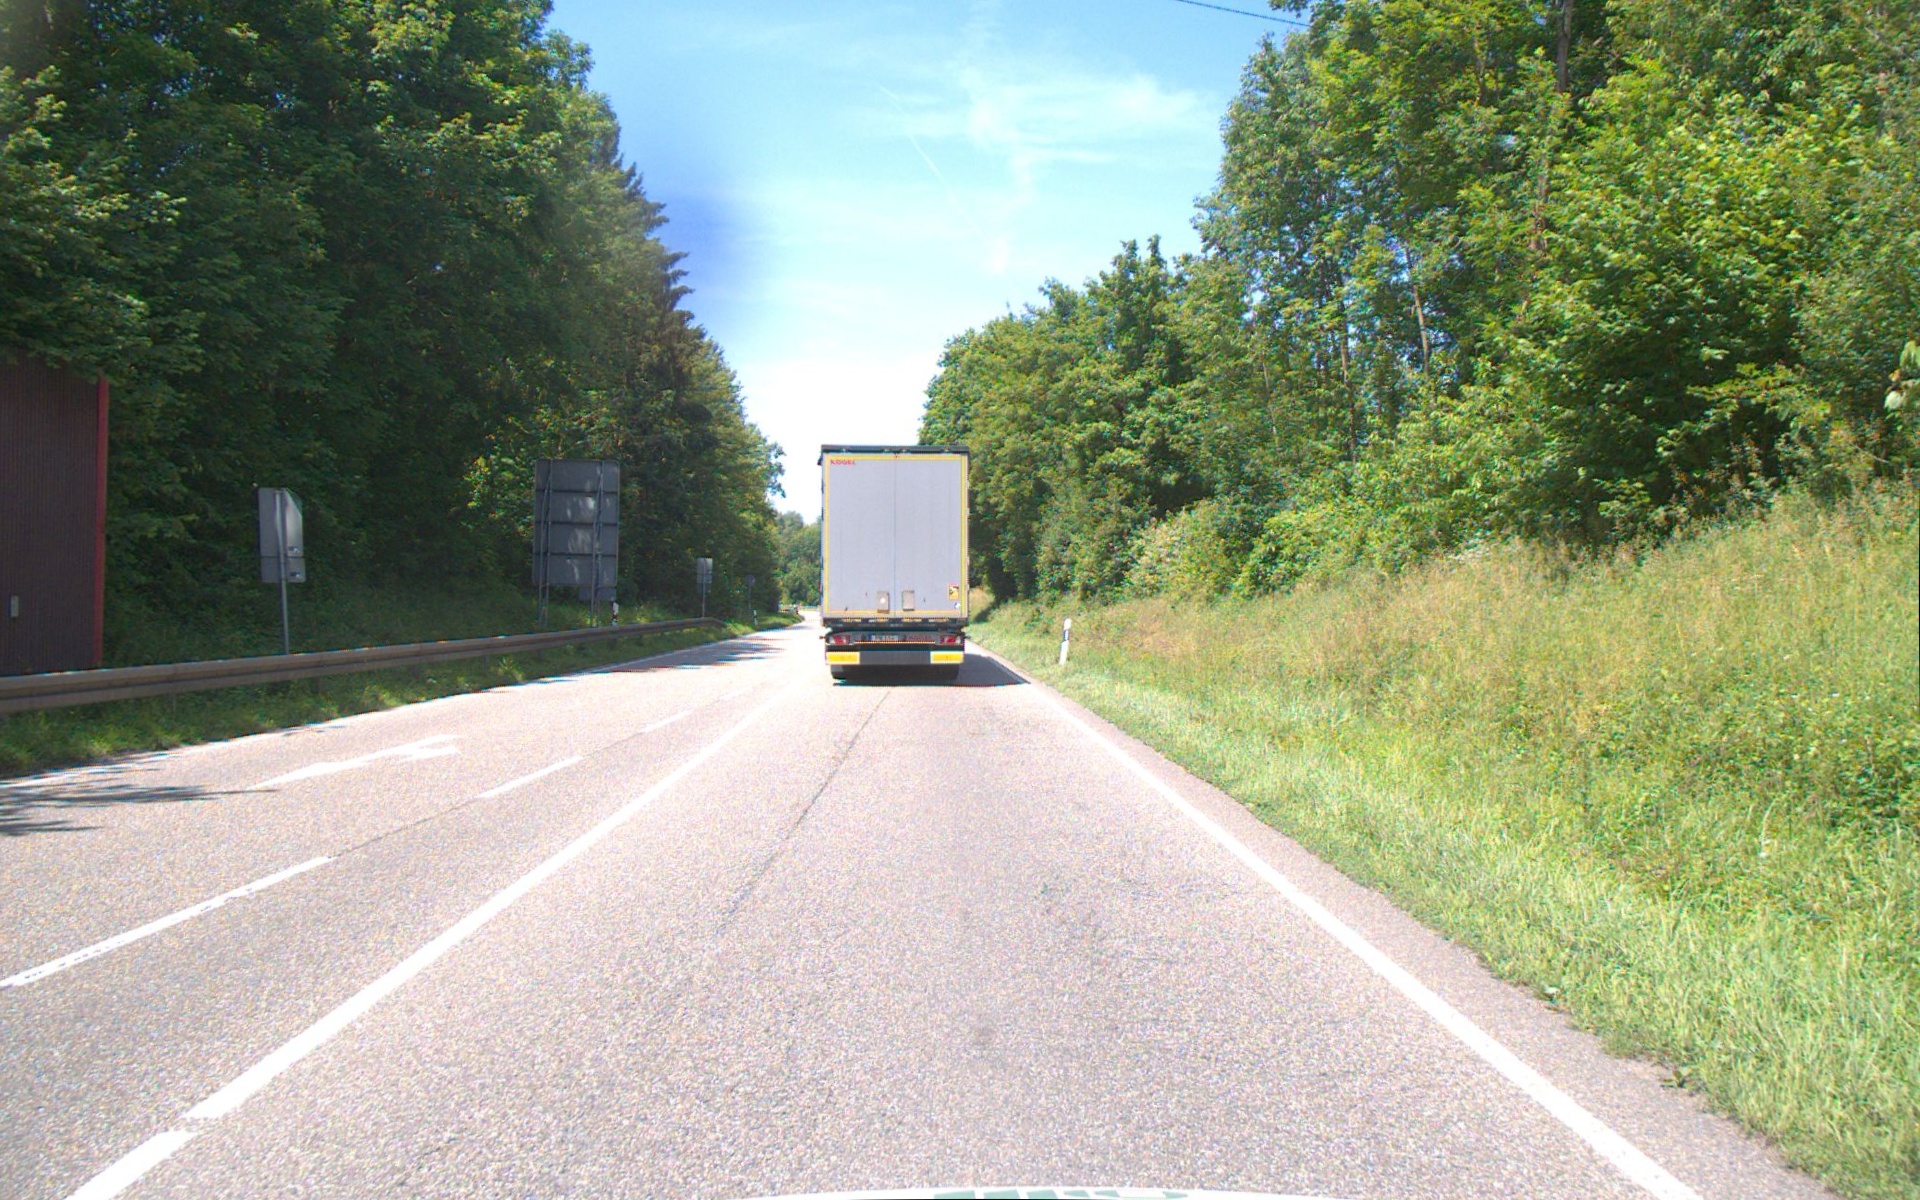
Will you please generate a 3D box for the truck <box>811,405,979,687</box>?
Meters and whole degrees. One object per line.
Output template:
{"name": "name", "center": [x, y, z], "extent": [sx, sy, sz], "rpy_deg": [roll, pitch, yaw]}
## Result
{"name": "truck", "center": [-1.179, -0.965, 31.063], "extent": [2.765, 4.684, 6.664], "rpy_deg": [1, 1, -2]}
